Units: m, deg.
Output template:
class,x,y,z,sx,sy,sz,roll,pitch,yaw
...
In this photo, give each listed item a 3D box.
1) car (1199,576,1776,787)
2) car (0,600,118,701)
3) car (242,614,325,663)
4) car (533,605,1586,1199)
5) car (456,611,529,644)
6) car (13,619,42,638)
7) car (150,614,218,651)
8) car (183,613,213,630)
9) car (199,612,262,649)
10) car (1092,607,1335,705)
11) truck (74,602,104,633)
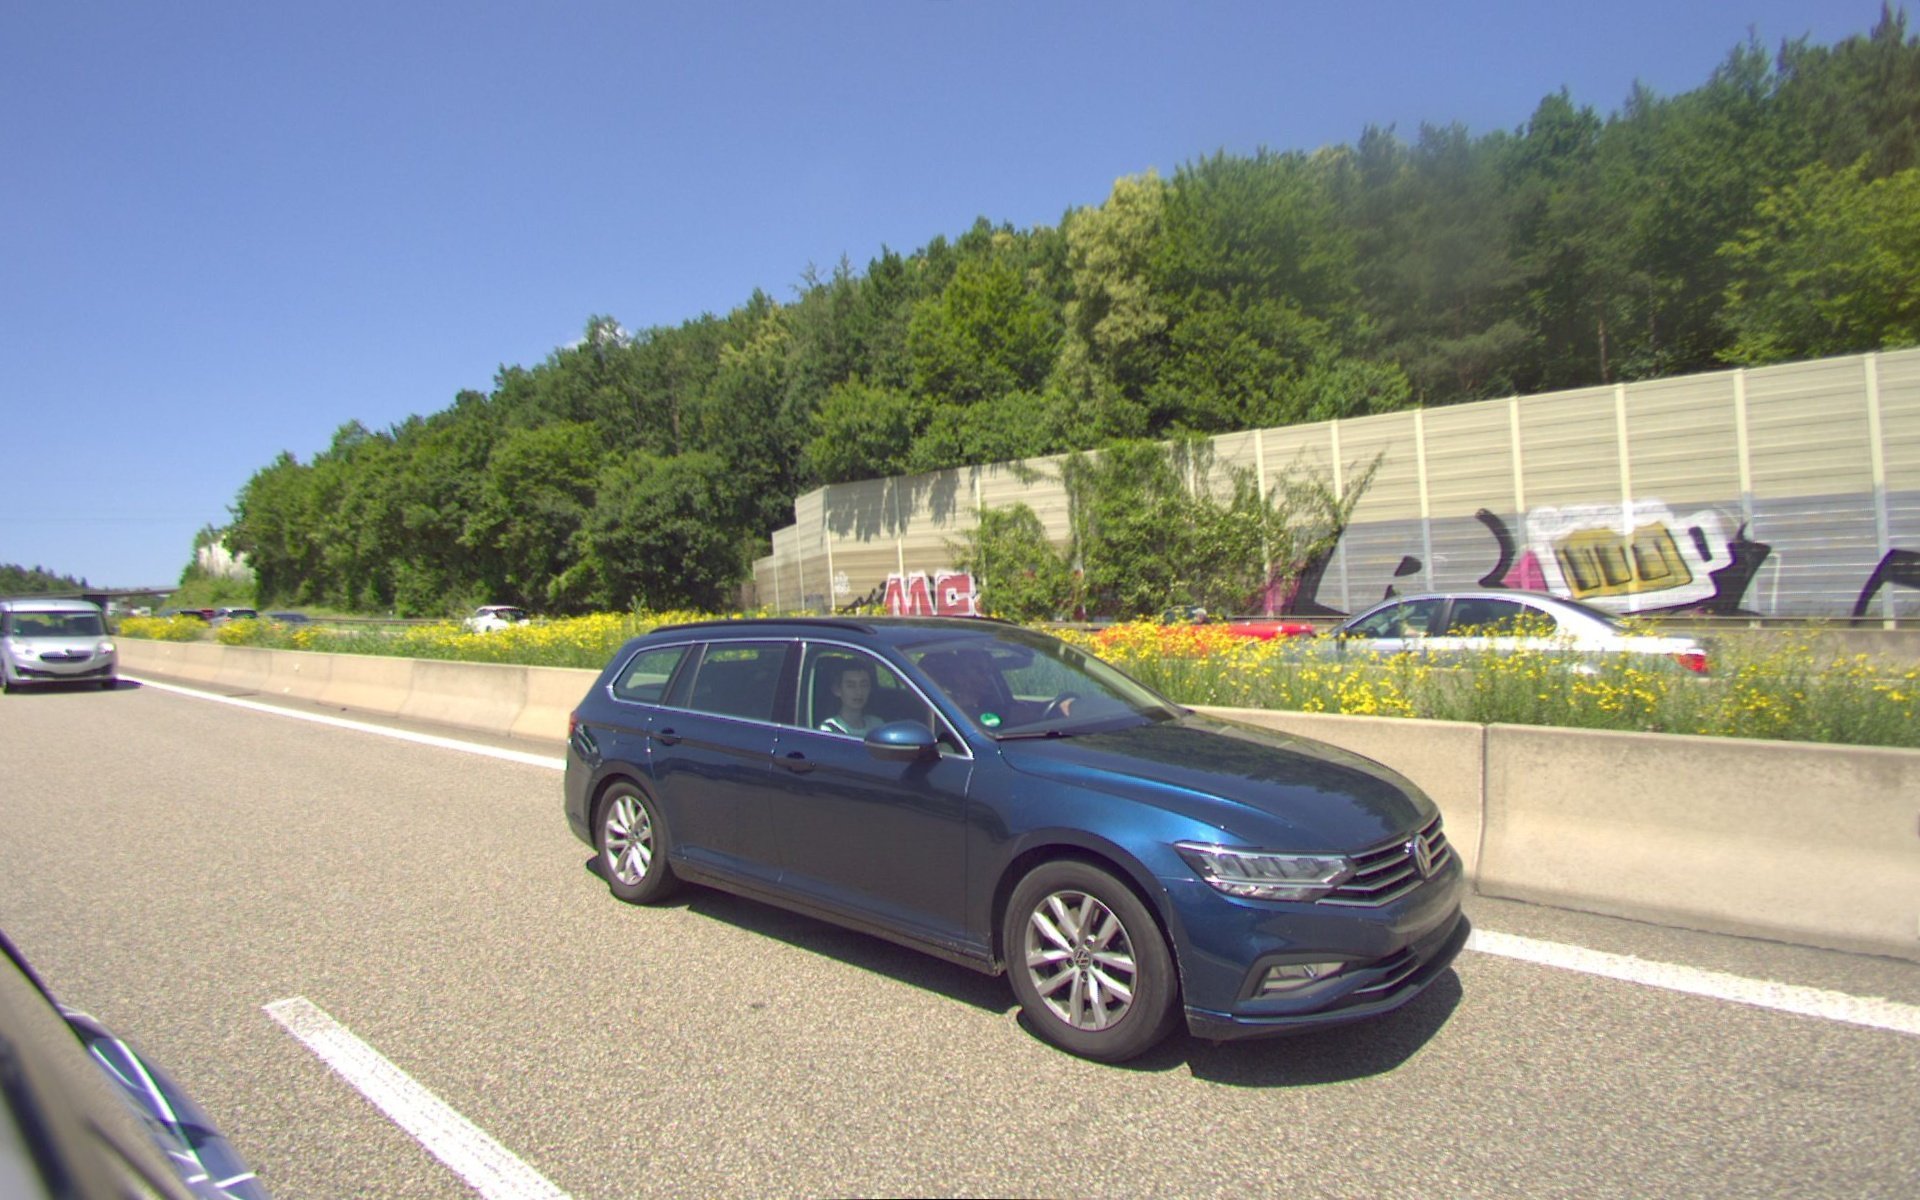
class,x,y,z,sx,sy,sz,roll,pitch,yaw
car,4.881,0.648,9.869,4.712,1.589,1.728,-1,-1,41
car,-18.670,0.967,20.659,3.999,1.858,1.757,-1,-1,42
car,-24.549,1.360,36.673,3.711,1.663,1.625,-1,0,41
car,-0.022,0.780,4.670,4.728,1.438,1.714,-1,-1,41
car,-22.272,1.286,48.112,4.312,1.493,1.612,-1,-1,42
car,-104.293,3.148,113.208,3.998,2.029,1.973,-1,-1,41
car,-36.583,1.484,47.649,4.689,1.635,1.705,-1,0,42
car,-76.961,2.114,102.230,3.999,1.647,1.708,-1,0,42
car,-40.293,1.639,55.849,4.505,1.913,1.972,-1,0,42
car,4.743,0.968,19.310,4.186,1.652,1.721,-1,0,41
truck,-101.992,2.008,118.489,6.025,3.532,1.972,-1,-1,42
